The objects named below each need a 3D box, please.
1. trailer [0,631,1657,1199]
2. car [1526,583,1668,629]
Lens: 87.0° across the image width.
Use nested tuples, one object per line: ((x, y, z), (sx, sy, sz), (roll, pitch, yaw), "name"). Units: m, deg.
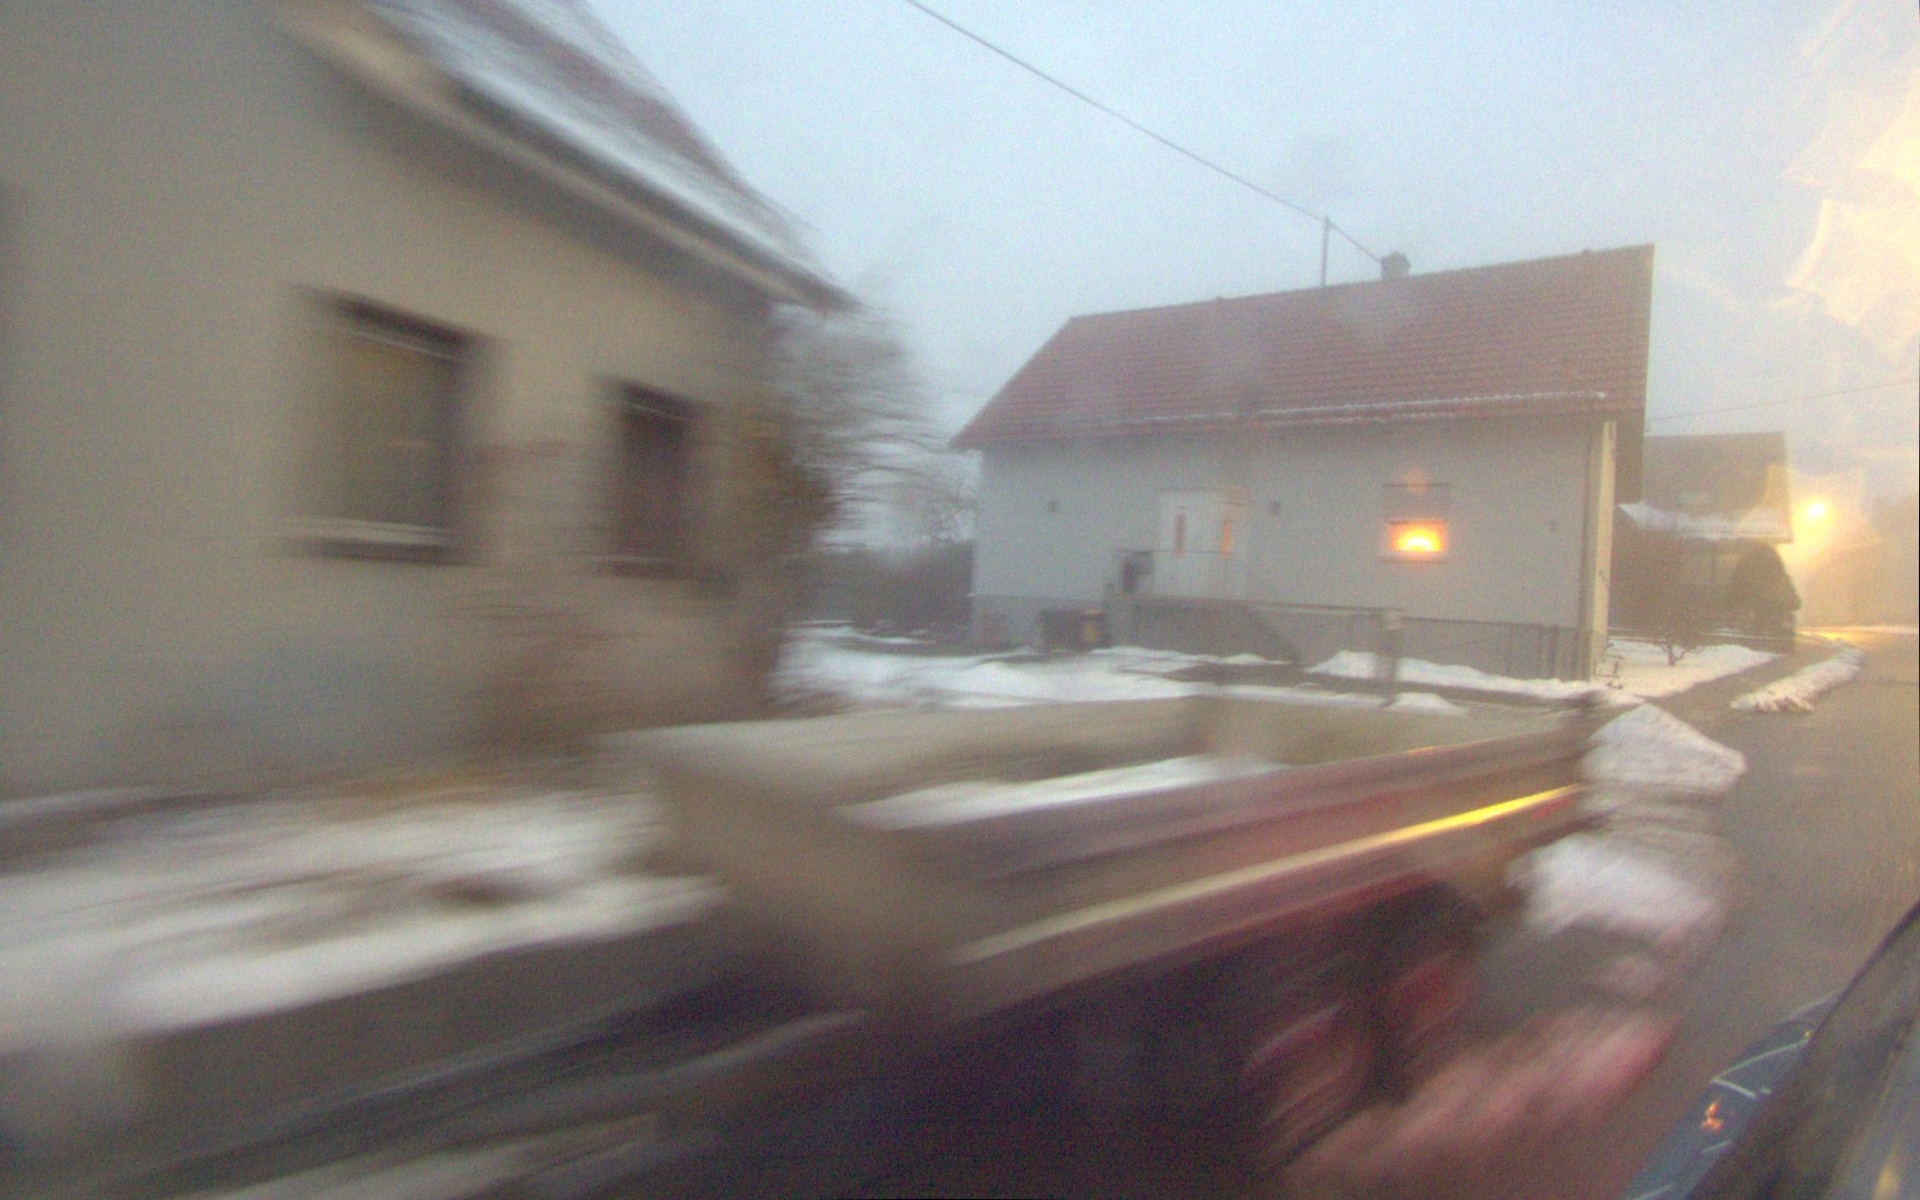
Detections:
((0.216, 0.859, 3.048), (4.648, 1.406, 1.997), (0, 0, -41), "trailer")
((24.034, 0.199, 38.261), (4.432, 1.607, 1.975), (0, 1, 35), "car")
